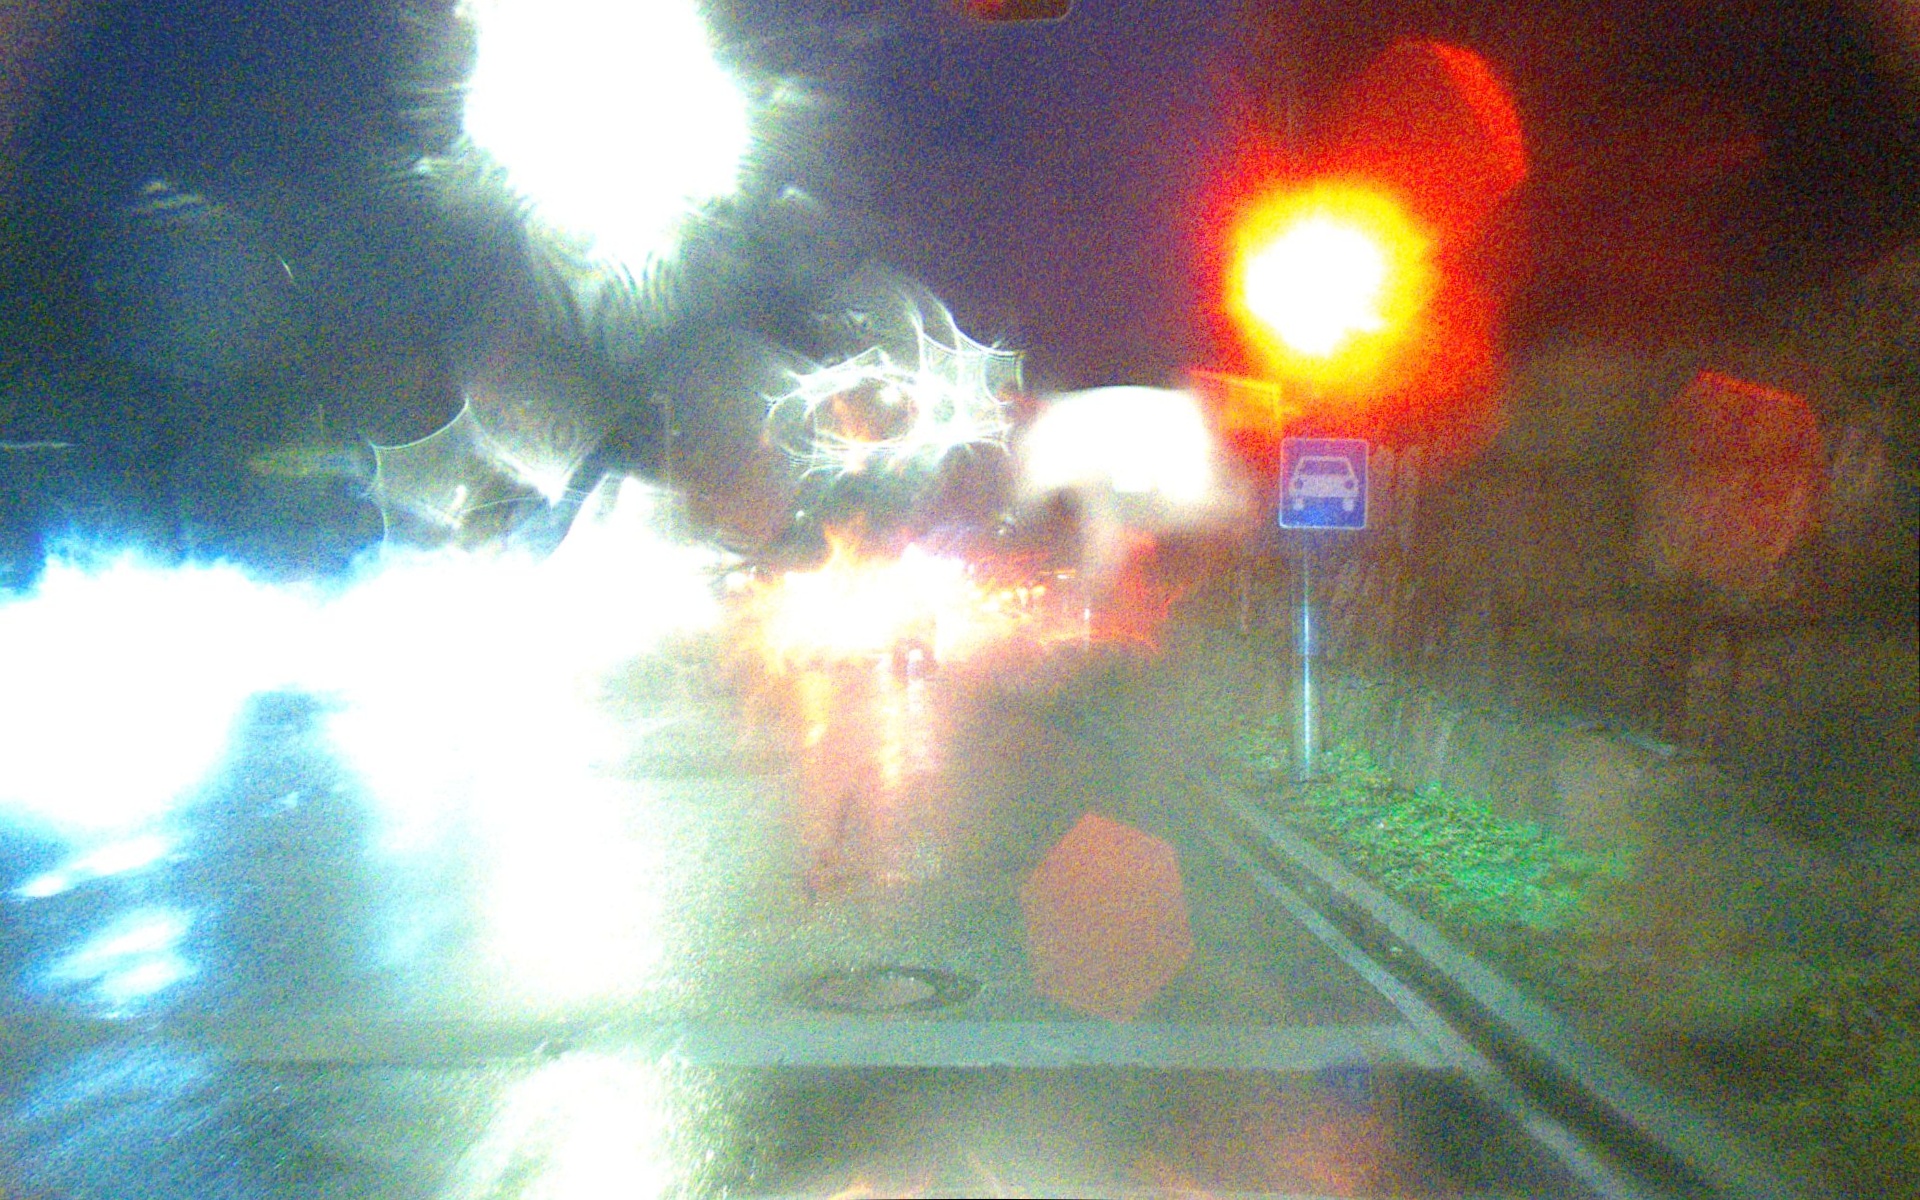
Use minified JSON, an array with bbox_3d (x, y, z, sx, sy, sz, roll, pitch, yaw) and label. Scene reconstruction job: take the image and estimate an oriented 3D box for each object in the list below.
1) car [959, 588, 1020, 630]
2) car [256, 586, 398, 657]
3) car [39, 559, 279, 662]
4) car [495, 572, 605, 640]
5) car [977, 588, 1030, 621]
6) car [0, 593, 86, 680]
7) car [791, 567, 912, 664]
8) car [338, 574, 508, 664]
[{"bbox_3d":[1.015,0.321,59.180,2.060,1.464,3.999,0,0,-1],"label":"car"},{"bbox_3d":[-13.764,0.455,36.169,1.634,1.479,3.728,0,0,0],"label":"car"},{"bbox_3d":[-13.554,0.145,28.350,1.755,1.599,4.913,0,0,0],"label":"car"},{"bbox_3d":[-9.740,0.148,39.537,1.552,1.552,3.653,0,-1,3],"label":"car"},{"bbox_3d":[1.778,0.205,69.296,2.064,1.363,4.293,0,0,-1],"label":"car"},{"bbox_3d":[-21.652,0.813,36.497,3.958,1.863,1.699,-1,1,-37],"label":"car"},{"bbox_3d":[-1.898,0.284,30.087,1.953,1.639,4.102,0,0,-1],"label":"car"},{"bbox_3d":[-10.134,0.317,31.594,1.664,1.599,4.712,0,0,1],"label":"car"}]
